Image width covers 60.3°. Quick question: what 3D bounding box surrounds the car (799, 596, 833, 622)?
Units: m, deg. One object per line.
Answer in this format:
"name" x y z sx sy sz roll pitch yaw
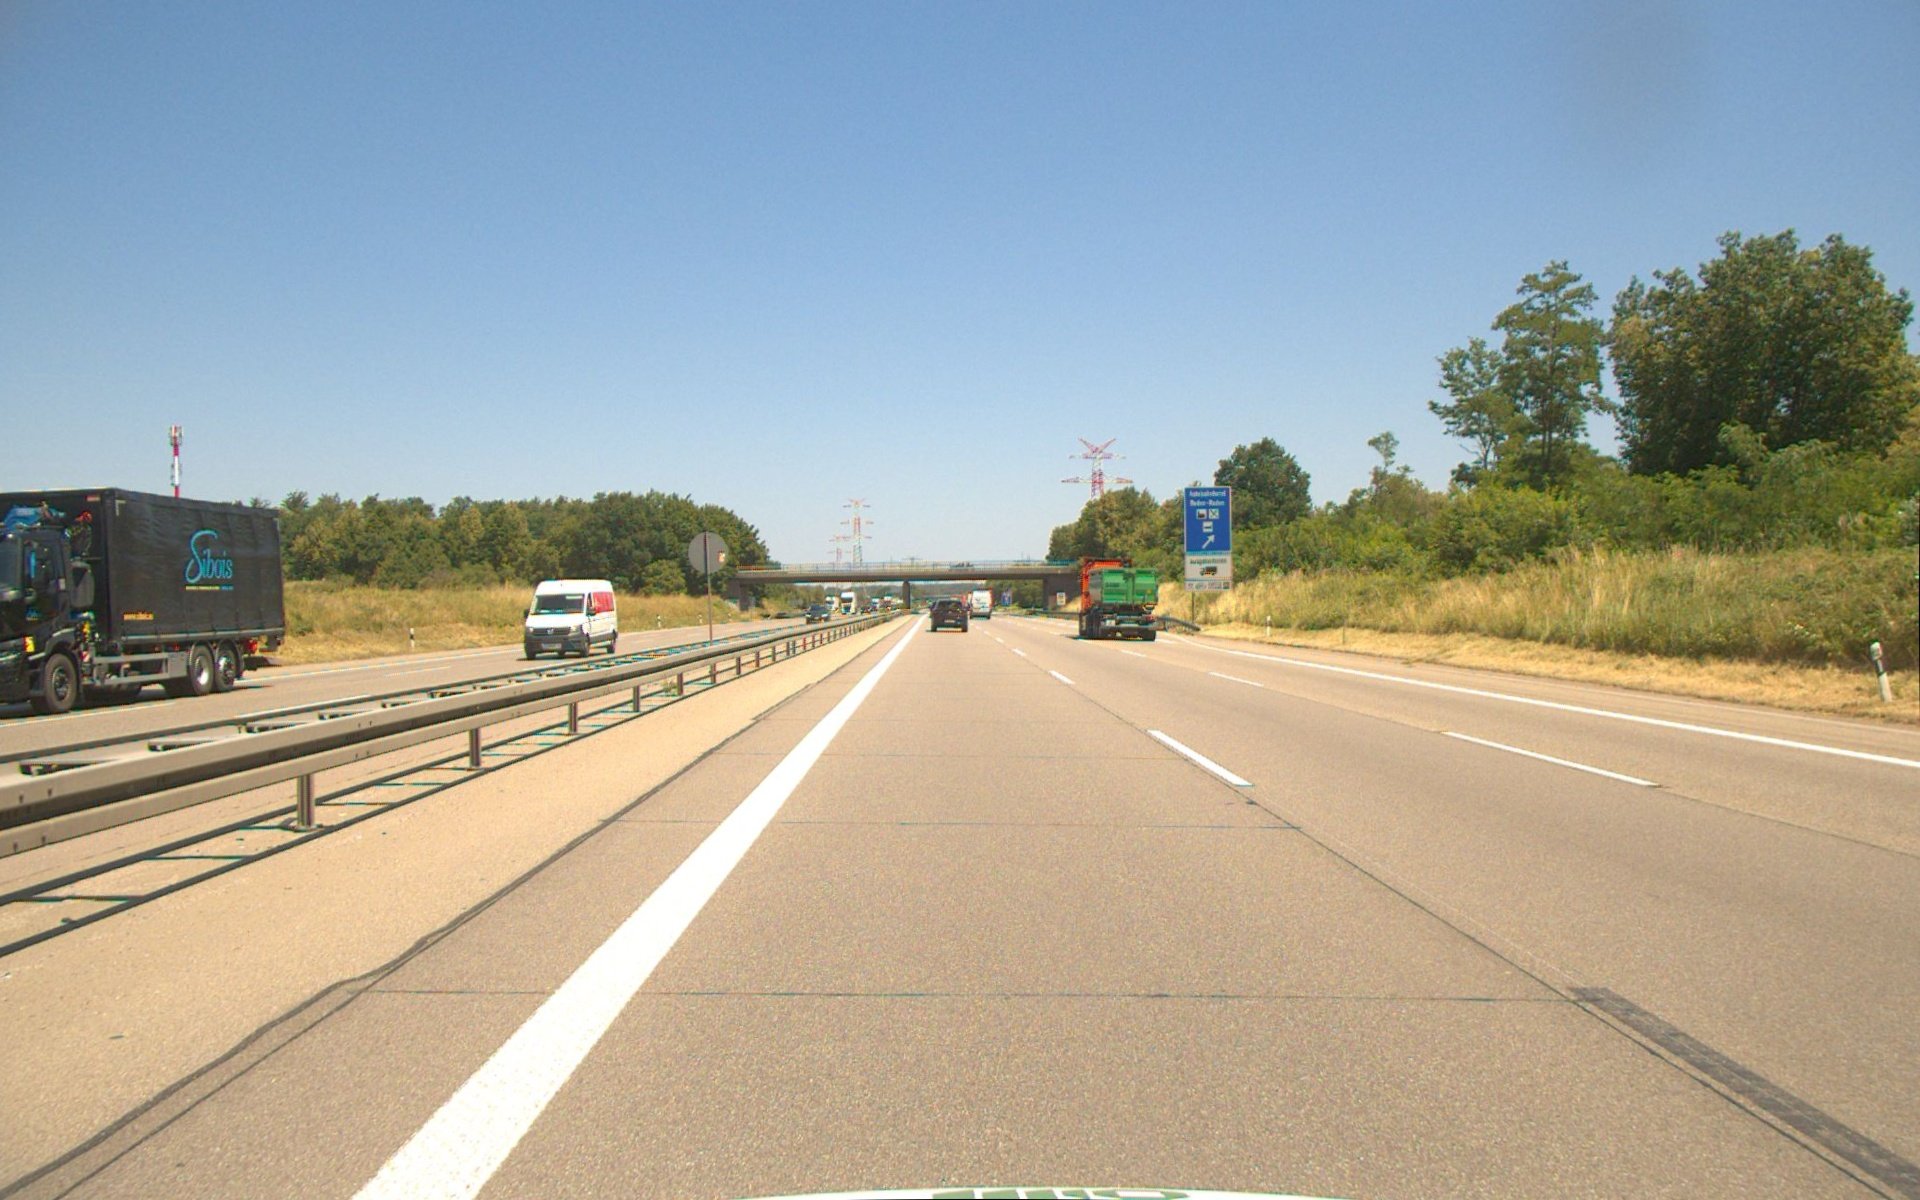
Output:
"car" -11.563 0.724 133.418 2.316 1.928 5.223 -2 0 -1

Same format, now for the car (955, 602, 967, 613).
"car" 0.149 1.173 256.947 1.711 1.662 4.003 1 0 -1

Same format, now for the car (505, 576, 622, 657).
"car" -13.421 0.528 56.479 2.316 2.491 7.131 -2 0 -1

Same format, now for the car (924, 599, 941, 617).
"car" -2.923 0.851 177.359 1.758 1.780 3.999 1 0 -1

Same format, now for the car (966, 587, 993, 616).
"car" 1.976 0.147 167.651 2.568 2.807 6.095 1 0 -1

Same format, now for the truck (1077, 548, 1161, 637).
"truck" 7.408 -0.332 78.737 2.626 3.864 12.476 1 0 -1

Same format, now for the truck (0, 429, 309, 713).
"truck" -17.295 -0.398 33.577 3.308 4.705 12.184 -3 0 -1

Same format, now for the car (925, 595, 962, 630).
"car" -0.899 0.665 89.174 1.953 1.780 3.999 1 0 -1
